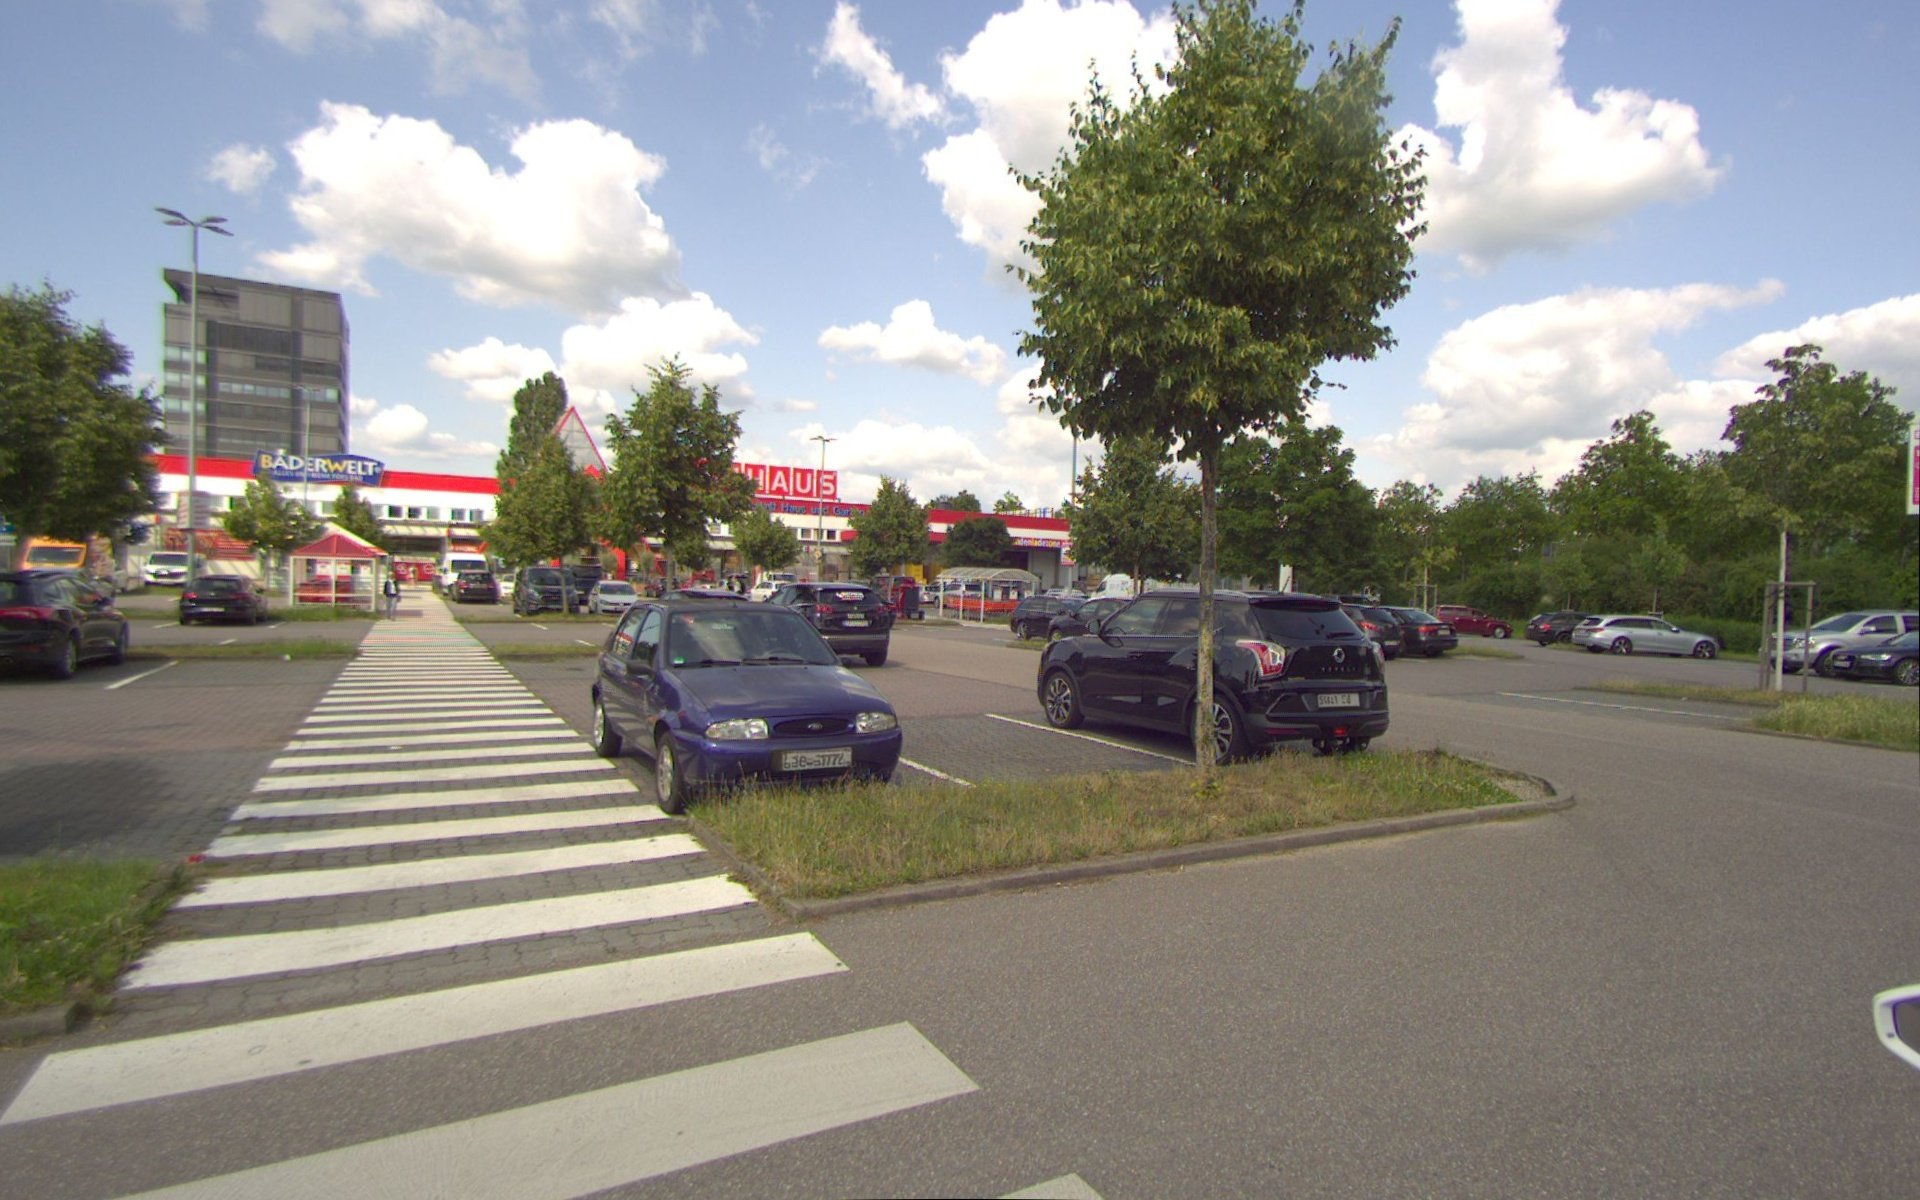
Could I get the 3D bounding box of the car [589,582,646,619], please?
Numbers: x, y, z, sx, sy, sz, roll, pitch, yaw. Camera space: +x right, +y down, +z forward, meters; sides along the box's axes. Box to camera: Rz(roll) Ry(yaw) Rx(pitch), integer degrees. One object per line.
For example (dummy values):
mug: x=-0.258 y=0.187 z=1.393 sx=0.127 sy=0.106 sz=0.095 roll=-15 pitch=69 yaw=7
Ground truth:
car: x=-13.984 y=-0.002 z=40.928 sx=1.721 sy=1.405 sz=3.537 roll=1 pitch=1 yaw=-27

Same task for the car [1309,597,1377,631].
car: x=25.594 y=0.924 z=67.086 sx=4.003 sy=2.045 sz=1.935 roll=3 pitch=-1 yaw=-25

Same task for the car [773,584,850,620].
car: x=-6.787 y=0.071 z=45.516 sx=1.976 sy=1.487 sz=4.381 roll=1 pitch=1 yaw=-30

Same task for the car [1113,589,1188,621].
car: x=10.332 y=0.252 z=54.736 sx=1.888 sy=1.617 sz=3.967 roll=1 pitch=1 yaw=-31

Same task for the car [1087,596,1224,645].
car: x=6.126 y=0.612 z=31.946 sx=1.873 sy=1.371 sz=4.244 roll=1 pitch=1 yaw=-32

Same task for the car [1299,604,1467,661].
car: x=12.435 y=0.911 z=29.852 sx=1.749 sy=1.452 sz=4.510 roll=1 pitch=1 yaw=-27

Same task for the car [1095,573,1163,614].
car: x=11.504 y=-0.464 z=68.844 sx=2.028 sy=2.543 sz=4.692 roll=2 pitch=1 yaw=-29

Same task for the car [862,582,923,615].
car: x=-4.015 y=-0.113 z=59.399 sx=1.978 sy=1.802 sz=3.965 roll=1 pitch=1 yaw=-32

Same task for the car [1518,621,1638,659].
car: x=25.764 y=1.656 z=41.989 sx=3.919 sy=1.399 sz=1.700 roll=2 pitch=-1 yaw=4

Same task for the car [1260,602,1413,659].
car: x=10.457 y=0.804 z=28.186 sx=1.560 sy=1.387 sz=3.970 roll=1 pitch=1 yaw=-28

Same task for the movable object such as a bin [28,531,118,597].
movable object such as a bin: x=-36.824 y=-1.463 z=41.838 sx=2.108 sy=2.527 sz=5.286 roll=1 pitch=1 yaw=-34

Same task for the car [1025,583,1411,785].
car: x=2.432 y=0.690 z=10.496 sx=1.714 sy=1.646 sz=3.935 roll=1 pitch=1 yaw=-27

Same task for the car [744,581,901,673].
car: x=-2.920 y=0.485 z=20.594 sx=1.763 sy=1.646 sz=4.050 roll=1 pitch=1 yaw=-30

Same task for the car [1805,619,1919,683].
car: x=24.386 y=1.305 z=25.172 sx=4.629 sy=1.470 sz=1.840 roll=2 pitch=1 yaw=6

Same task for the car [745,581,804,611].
car: x=-10.420 y=-0.230 z=56.238 sx=1.977 sy=1.529 sz=3.966 roll=1 pitch=1 yaw=-31

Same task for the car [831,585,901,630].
car: x=-3.698 y=0.259 z=39.184 sx=1.678 sy=1.624 sz=3.199 roll=1 pitch=1 yaw=-27

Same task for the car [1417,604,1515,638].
car: x=27.074 y=1.092 z=53.859 sx=4.234 sy=1.617 sz=2.000 roll=2 pitch=1 yaw=3

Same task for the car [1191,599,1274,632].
car: x=13.446 y=0.750 z=49.726 sx=1.707 sy=1.466 sz=3.739 roll=1 pitch=1 yaw=-33

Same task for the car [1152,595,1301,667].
car: x=6.661 y=0.730 z=25.363 sx=1.690 sy=1.602 sz=3.418 roll=1 pitch=1 yaw=-31

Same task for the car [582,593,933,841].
car: x=-1.808 y=0.692 z=7.903 sx=1.602 sy=1.386 sz=3.732 roll=1 pitch=1 yaw=-30

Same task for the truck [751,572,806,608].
truck: x=-11.549 y=-0.663 z=63.673 sx=1.837 sy=2.040 sz=5.370 roll=5 pitch=-1 yaw=-27

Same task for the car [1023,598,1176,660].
car: x=3.480 y=0.688 z=25.662 sx=1.712 sy=1.387 sz=3.845 roll=1 pitch=1 yaw=-35

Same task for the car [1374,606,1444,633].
car: x=27.405 y=1.168 z=61.400 sx=3.571 sy=1.487 sz=1.635 roll=2 pitch=-1 yaw=5

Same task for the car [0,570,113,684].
car: x=-13.318 y=0.312 z=14.027 sx=1.791 sy=1.423 sz=3.326 roll=1 pitch=1 yaw=-32

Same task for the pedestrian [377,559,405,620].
pedestrian: x=-19.435 y=-0.348 z=34.313 sx=0.808 sy=2.041 sz=0.907 roll=1 pitch=1 yaw=-31

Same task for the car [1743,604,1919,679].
car: x=24.935 y=1.126 z=27.641 sx=5.044 sy=1.867 sz=1.991 roll=2 pitch=1 yaw=4

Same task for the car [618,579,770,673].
car: x=-5.317 y=0.441 z=19.777 sx=1.765 sy=1.646 sz=3.671 roll=1 pitch=1 yaw=-34

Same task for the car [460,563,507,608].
car: x=-23.210 y=-0.701 z=48.844 sx=1.974 sy=2.041 sz=3.972 roll=1 pitch=1 yaw=-27

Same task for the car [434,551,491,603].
car: x=-27.360 y=-1.262 z=55.165 sx=2.216 sy=2.671 sz=4.288 roll=2 pitch=0 yaw=-34

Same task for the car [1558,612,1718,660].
car: x=24.906 y=1.301 z=37.010 sx=4.560 sy=1.524 sz=1.785 roll=2 pitch=1 yaw=5

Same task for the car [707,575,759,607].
car: x=-12.236 y=-0.497 z=54.068 sx=1.709 sy=1.528 sz=3.210 roll=5 pitch=-1 yaw=-31

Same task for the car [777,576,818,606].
car: x=-12.192 y=-0.664 z=75.088 sx=1.973 sy=2.040 sz=3.976 roll=5 pitch=-1 yaw=-24

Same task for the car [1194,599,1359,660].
car: x=8.348 y=0.737 z=26.845 sx=1.746 sy=1.417 sz=4.053 roll=1 pitch=1 yaw=-31

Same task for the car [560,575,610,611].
car: x=-18.798 y=-0.353 z=50.282 sx=1.679 sy=1.635 sz=2.632 roll=5 pitch=-1 yaw=-34

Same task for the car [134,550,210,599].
car: x=-37.301 y=-1.200 z=47.682 sx=1.977 sy=2.040 sz=4.770 roll=5 pitch=-1 yaw=-29

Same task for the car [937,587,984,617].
car: x=0.023 y=0.107 z=62.201 sx=1.583 sy=1.767 sz=3.141 roll=0 pitch=1 yaw=-30
